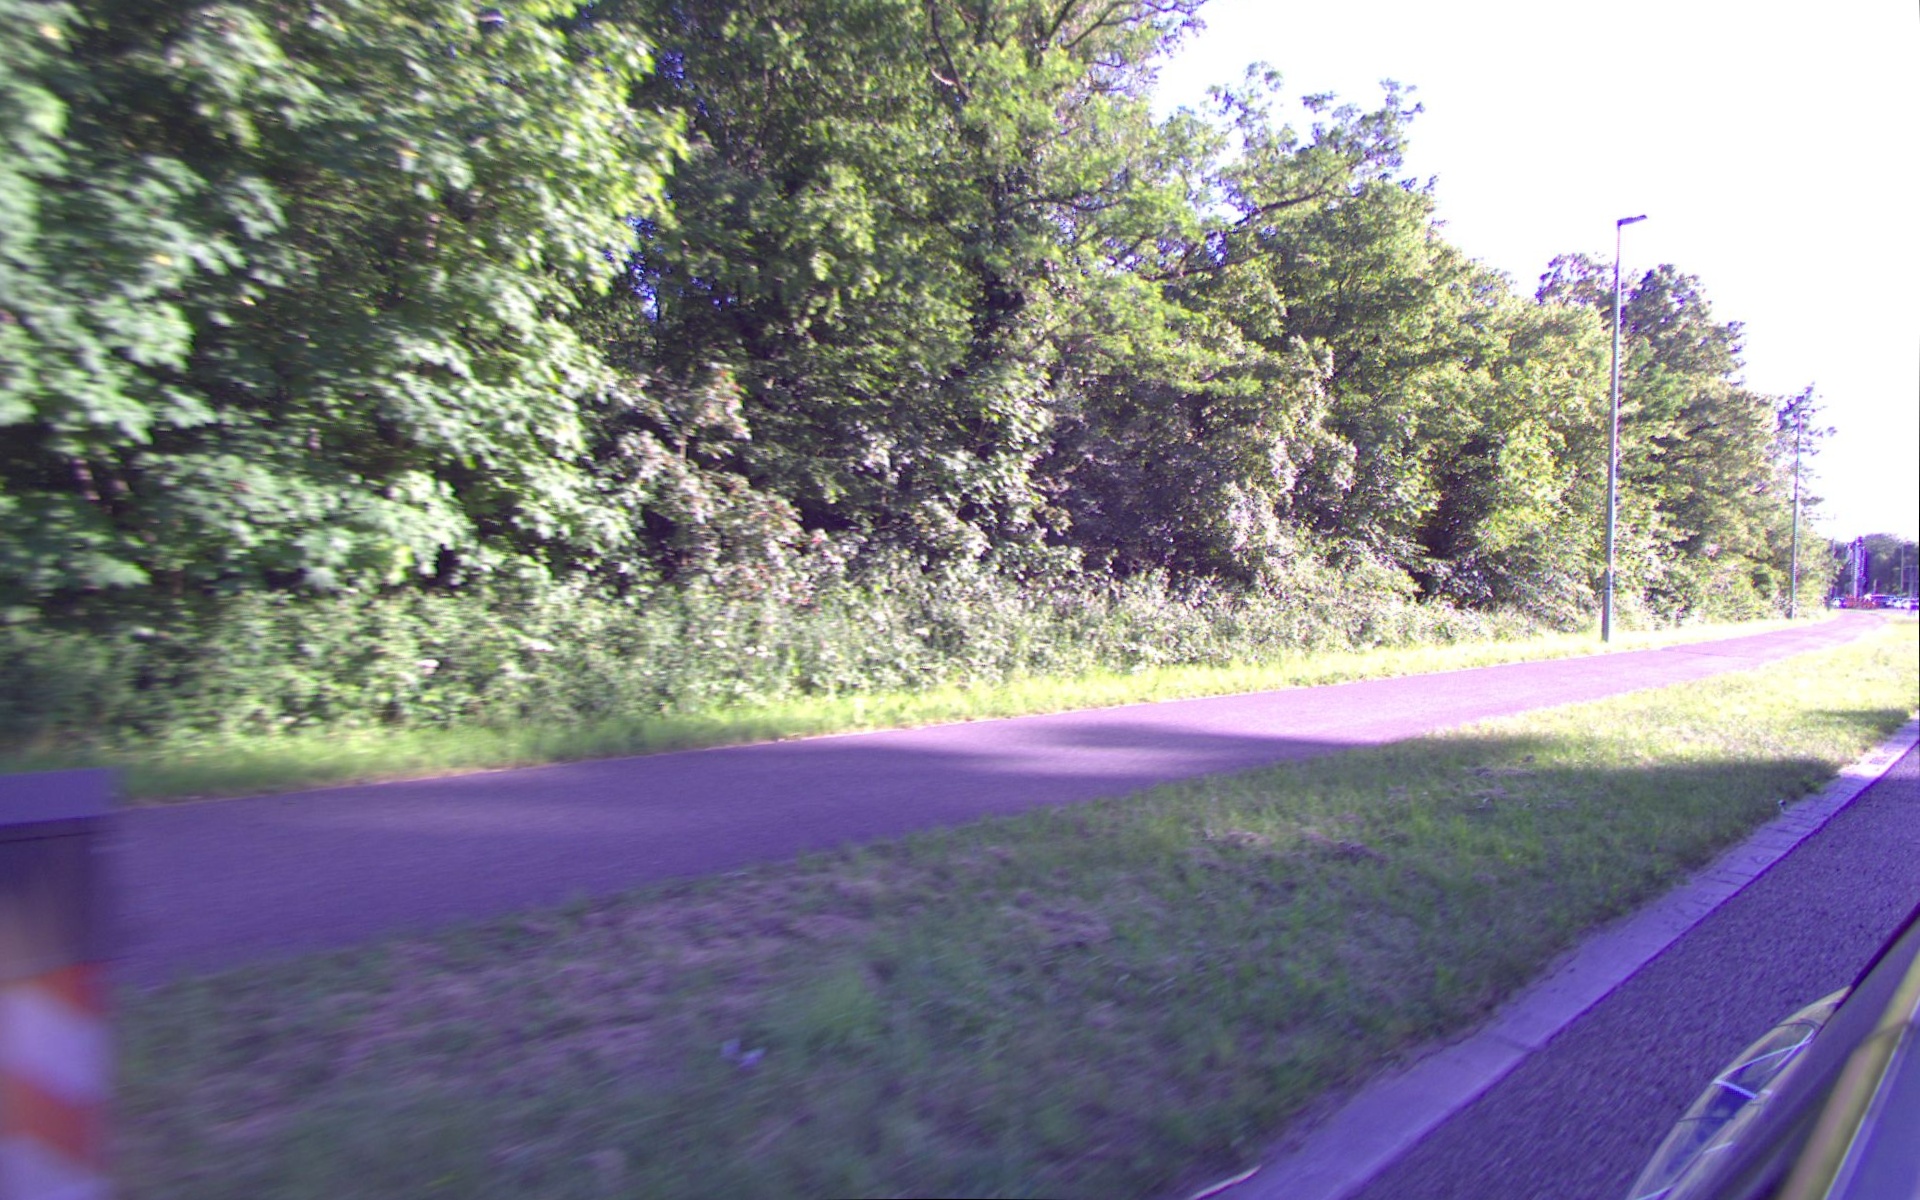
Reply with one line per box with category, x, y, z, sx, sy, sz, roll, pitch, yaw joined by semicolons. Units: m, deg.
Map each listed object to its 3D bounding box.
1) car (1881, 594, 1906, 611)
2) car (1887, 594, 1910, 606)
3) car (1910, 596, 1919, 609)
car;117.500;0.286;127.423;1.990;2.094;3.944;1;2;39
car;123.614;-0.018;133.315;1.990;1.538;3.944;1;2;39
car;120.298;0.317;126.500;1.990;1.538;3.944;1;2;39
